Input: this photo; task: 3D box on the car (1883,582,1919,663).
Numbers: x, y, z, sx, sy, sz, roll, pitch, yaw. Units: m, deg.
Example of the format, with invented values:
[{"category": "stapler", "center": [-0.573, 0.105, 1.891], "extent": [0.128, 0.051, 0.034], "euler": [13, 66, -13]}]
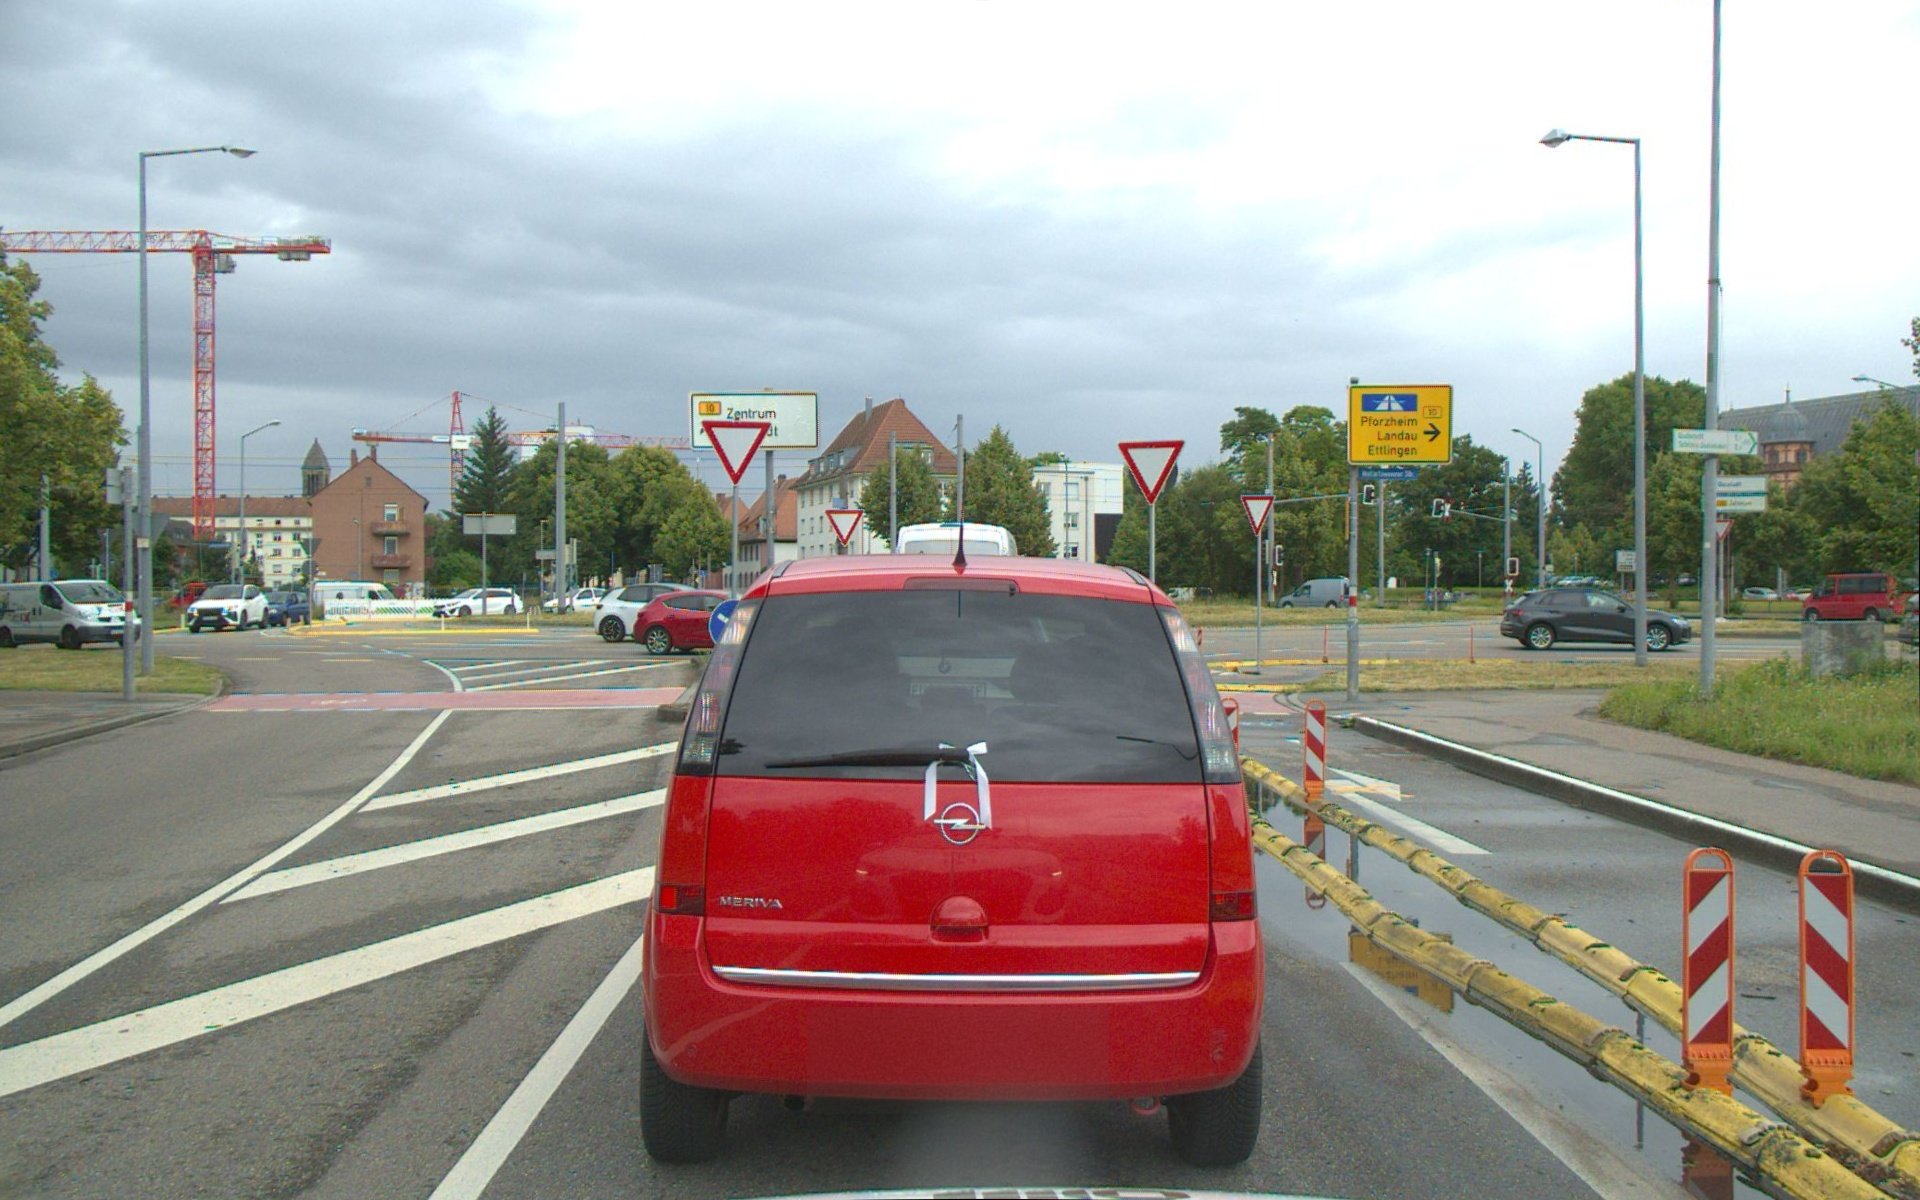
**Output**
[{"category": "car", "center": [21.399, 0.425, 33.428], "extent": [4.421, 1.611, 2.001], "euler": [0, 0, 16]}]

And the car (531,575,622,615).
[{"category": "car", "center": [-19.763, -0.275, 85.351], "extent": [1.959, 2.049, 4.466], "euler": [0, 0, 34]}]

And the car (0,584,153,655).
[{"category": "car", "center": [-25.436, 0.539, 47.250], "extent": [4.746, 1.933, 2.094], "euler": [0, 0, 32]}]

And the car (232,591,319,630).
[{"category": "car", "center": [-27.803, 0.397, 67.265], "extent": [1.891, 1.515, 4.000], "euler": [-1, 0, -1]}]

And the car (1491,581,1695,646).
[{"category": "car", "center": [15.043, 0.303, 39.531], "extent": [4.216, 1.489, 2.002], "euler": [0, 0, 9]}]

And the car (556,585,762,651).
[{"category": "car", "center": [-6.962, 0.410, 38.427], "extent": [4.250, 1.489, 2.002], "euler": [0, 0, 14]}]

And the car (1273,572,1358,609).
[{"category": "car", "center": [20.493, -0.544, 95.504], "extent": [4.393, 2.049, 1.990], "euler": [0, 0, 39]}]

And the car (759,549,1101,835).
[{"category": "car", "center": [-0.212, 0.533, 12.168], "extent": [2.018, 1.676, 4.606], "euler": [1, 0, -1]}]

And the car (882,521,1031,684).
[{"category": "car", "center": [0.047, 0.018, 29.009], "extent": [2.149, 2.584, 4.965], "euler": [1, 0, 5]}]

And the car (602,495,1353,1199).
[{"category": "car", "center": [0.014, 0.602, 5.472], "extent": [1.639, 1.669, 3.626], "euler": [1, 0, -1]}]

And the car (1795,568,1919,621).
[{"category": "car", "center": [34.828, -0.235, 63.743], "extent": [2.073, 1.951, 4.872], "euler": [-1, 0, -14]}]

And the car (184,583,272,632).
[{"category": "car", "center": [-26.772, 0.253, 60.637], "extent": [1.895, 1.713, 4.181], "euler": [-1, 0, -9]}]

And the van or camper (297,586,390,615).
[{"category": "van or camper", "center": [-44.556, 0.057, 119.572], "extent": [6.045, 2.049, 2.002], "euler": [0, 0, 10]}]

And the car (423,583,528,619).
[{"category": "car", "center": [-23.460, 0.040, 80.294], "extent": [1.961, 1.663, 4.655], "euler": [0, 0, 37]}]

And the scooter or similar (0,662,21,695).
[{"category": "scooter or similar", "center": [-16.400, 1.297, 27.130], "extent": [1.573, 0.513, 0.925], "euler": [0, 0, 18]}]

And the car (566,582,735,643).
[{"category": "car", "center": [-8.083, 0.317, 43.353], "extent": [3.902, 1.534, 2.002], "euler": [0, 0, 7]}]
